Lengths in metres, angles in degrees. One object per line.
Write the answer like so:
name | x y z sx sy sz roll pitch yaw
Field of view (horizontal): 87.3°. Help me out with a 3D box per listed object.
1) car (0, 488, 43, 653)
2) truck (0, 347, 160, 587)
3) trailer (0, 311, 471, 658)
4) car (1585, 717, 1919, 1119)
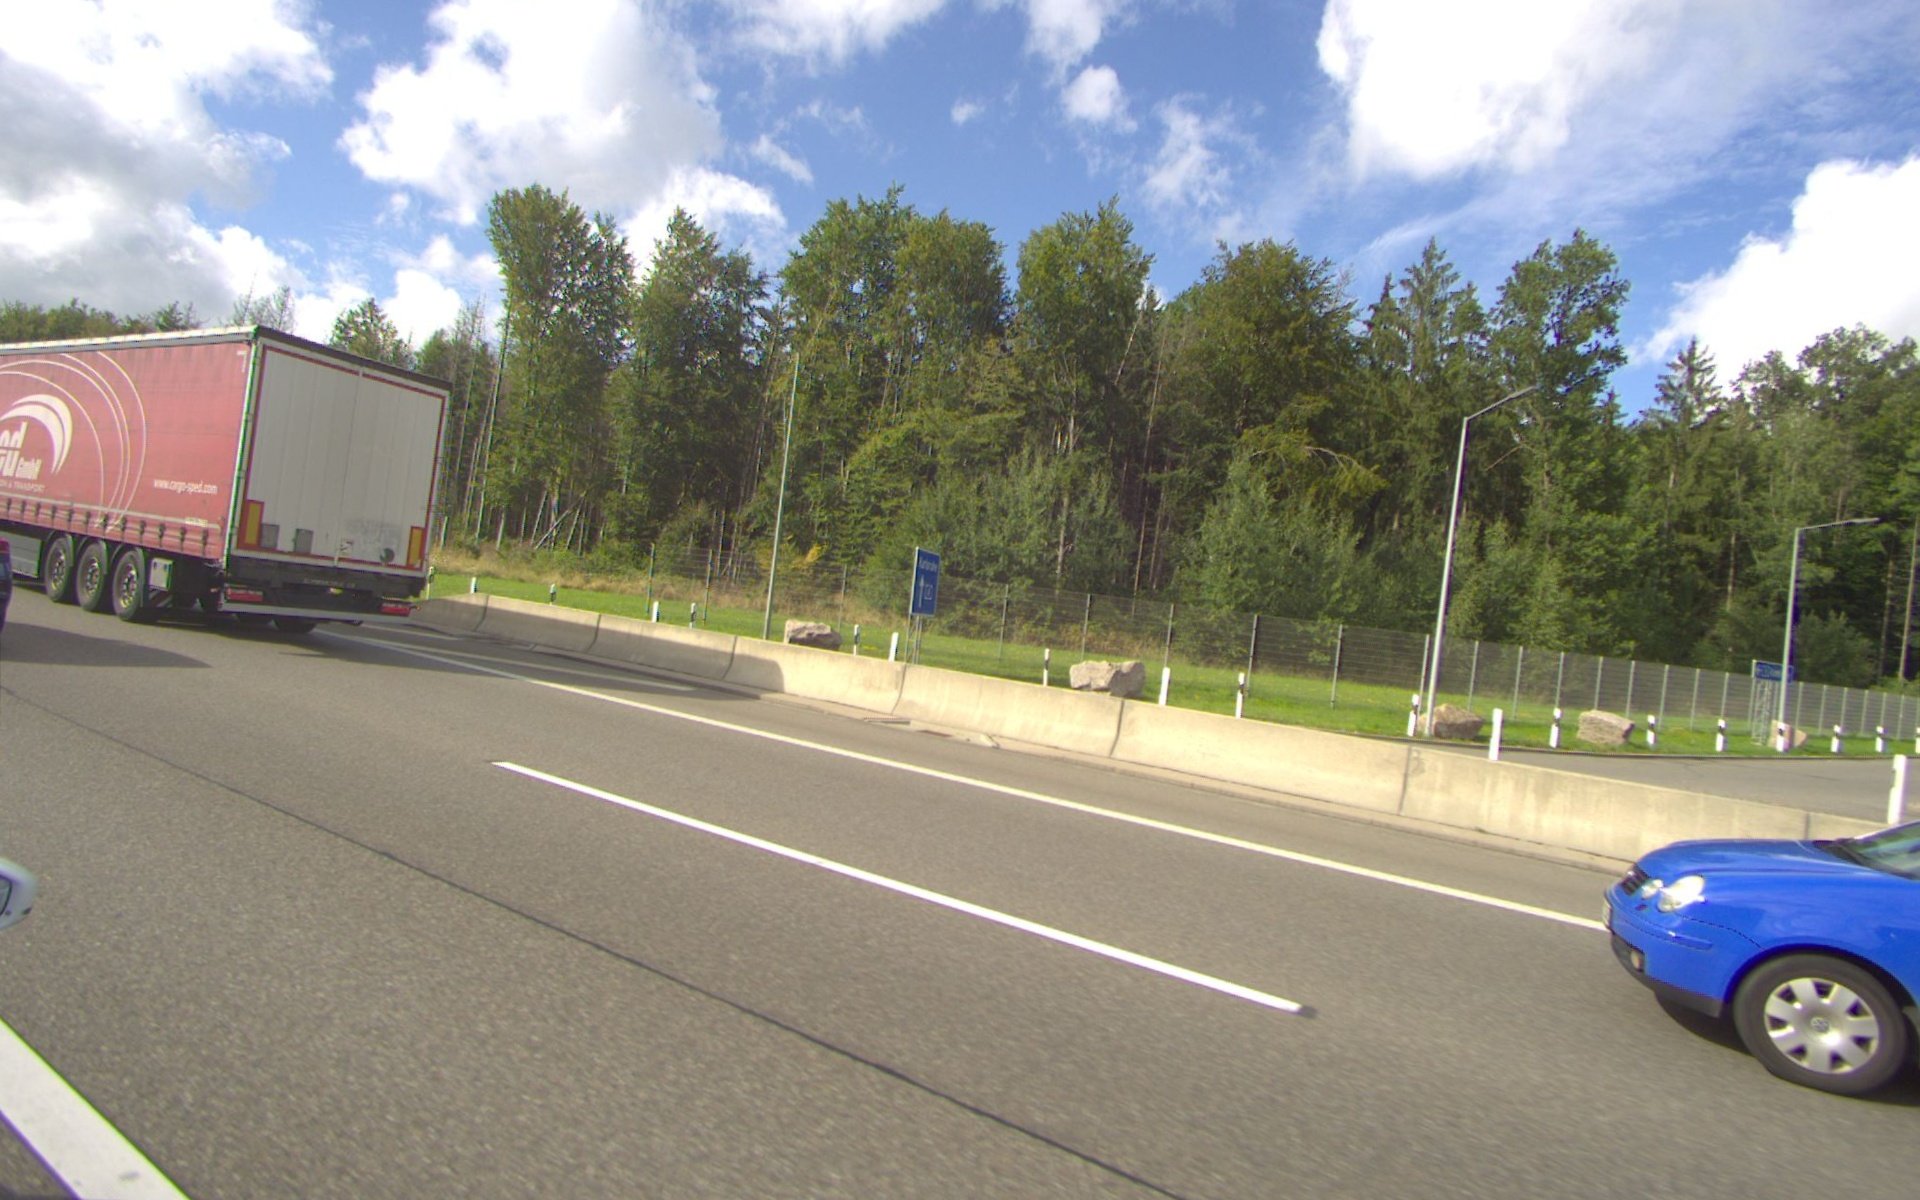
car | -11.248 -0.542 10.132 4.384 1.549 1.775 7 0 32
truck | -19.330 -2.699 20.401 5.677 4.093 2.778 7 -1 32
trailer | -13.701 -2.016 16.873 13.486 4.093 2.778 7 -1 32
car | 5.148 1.564 4.391 3.933 1.459 1.653 7 -1 31
